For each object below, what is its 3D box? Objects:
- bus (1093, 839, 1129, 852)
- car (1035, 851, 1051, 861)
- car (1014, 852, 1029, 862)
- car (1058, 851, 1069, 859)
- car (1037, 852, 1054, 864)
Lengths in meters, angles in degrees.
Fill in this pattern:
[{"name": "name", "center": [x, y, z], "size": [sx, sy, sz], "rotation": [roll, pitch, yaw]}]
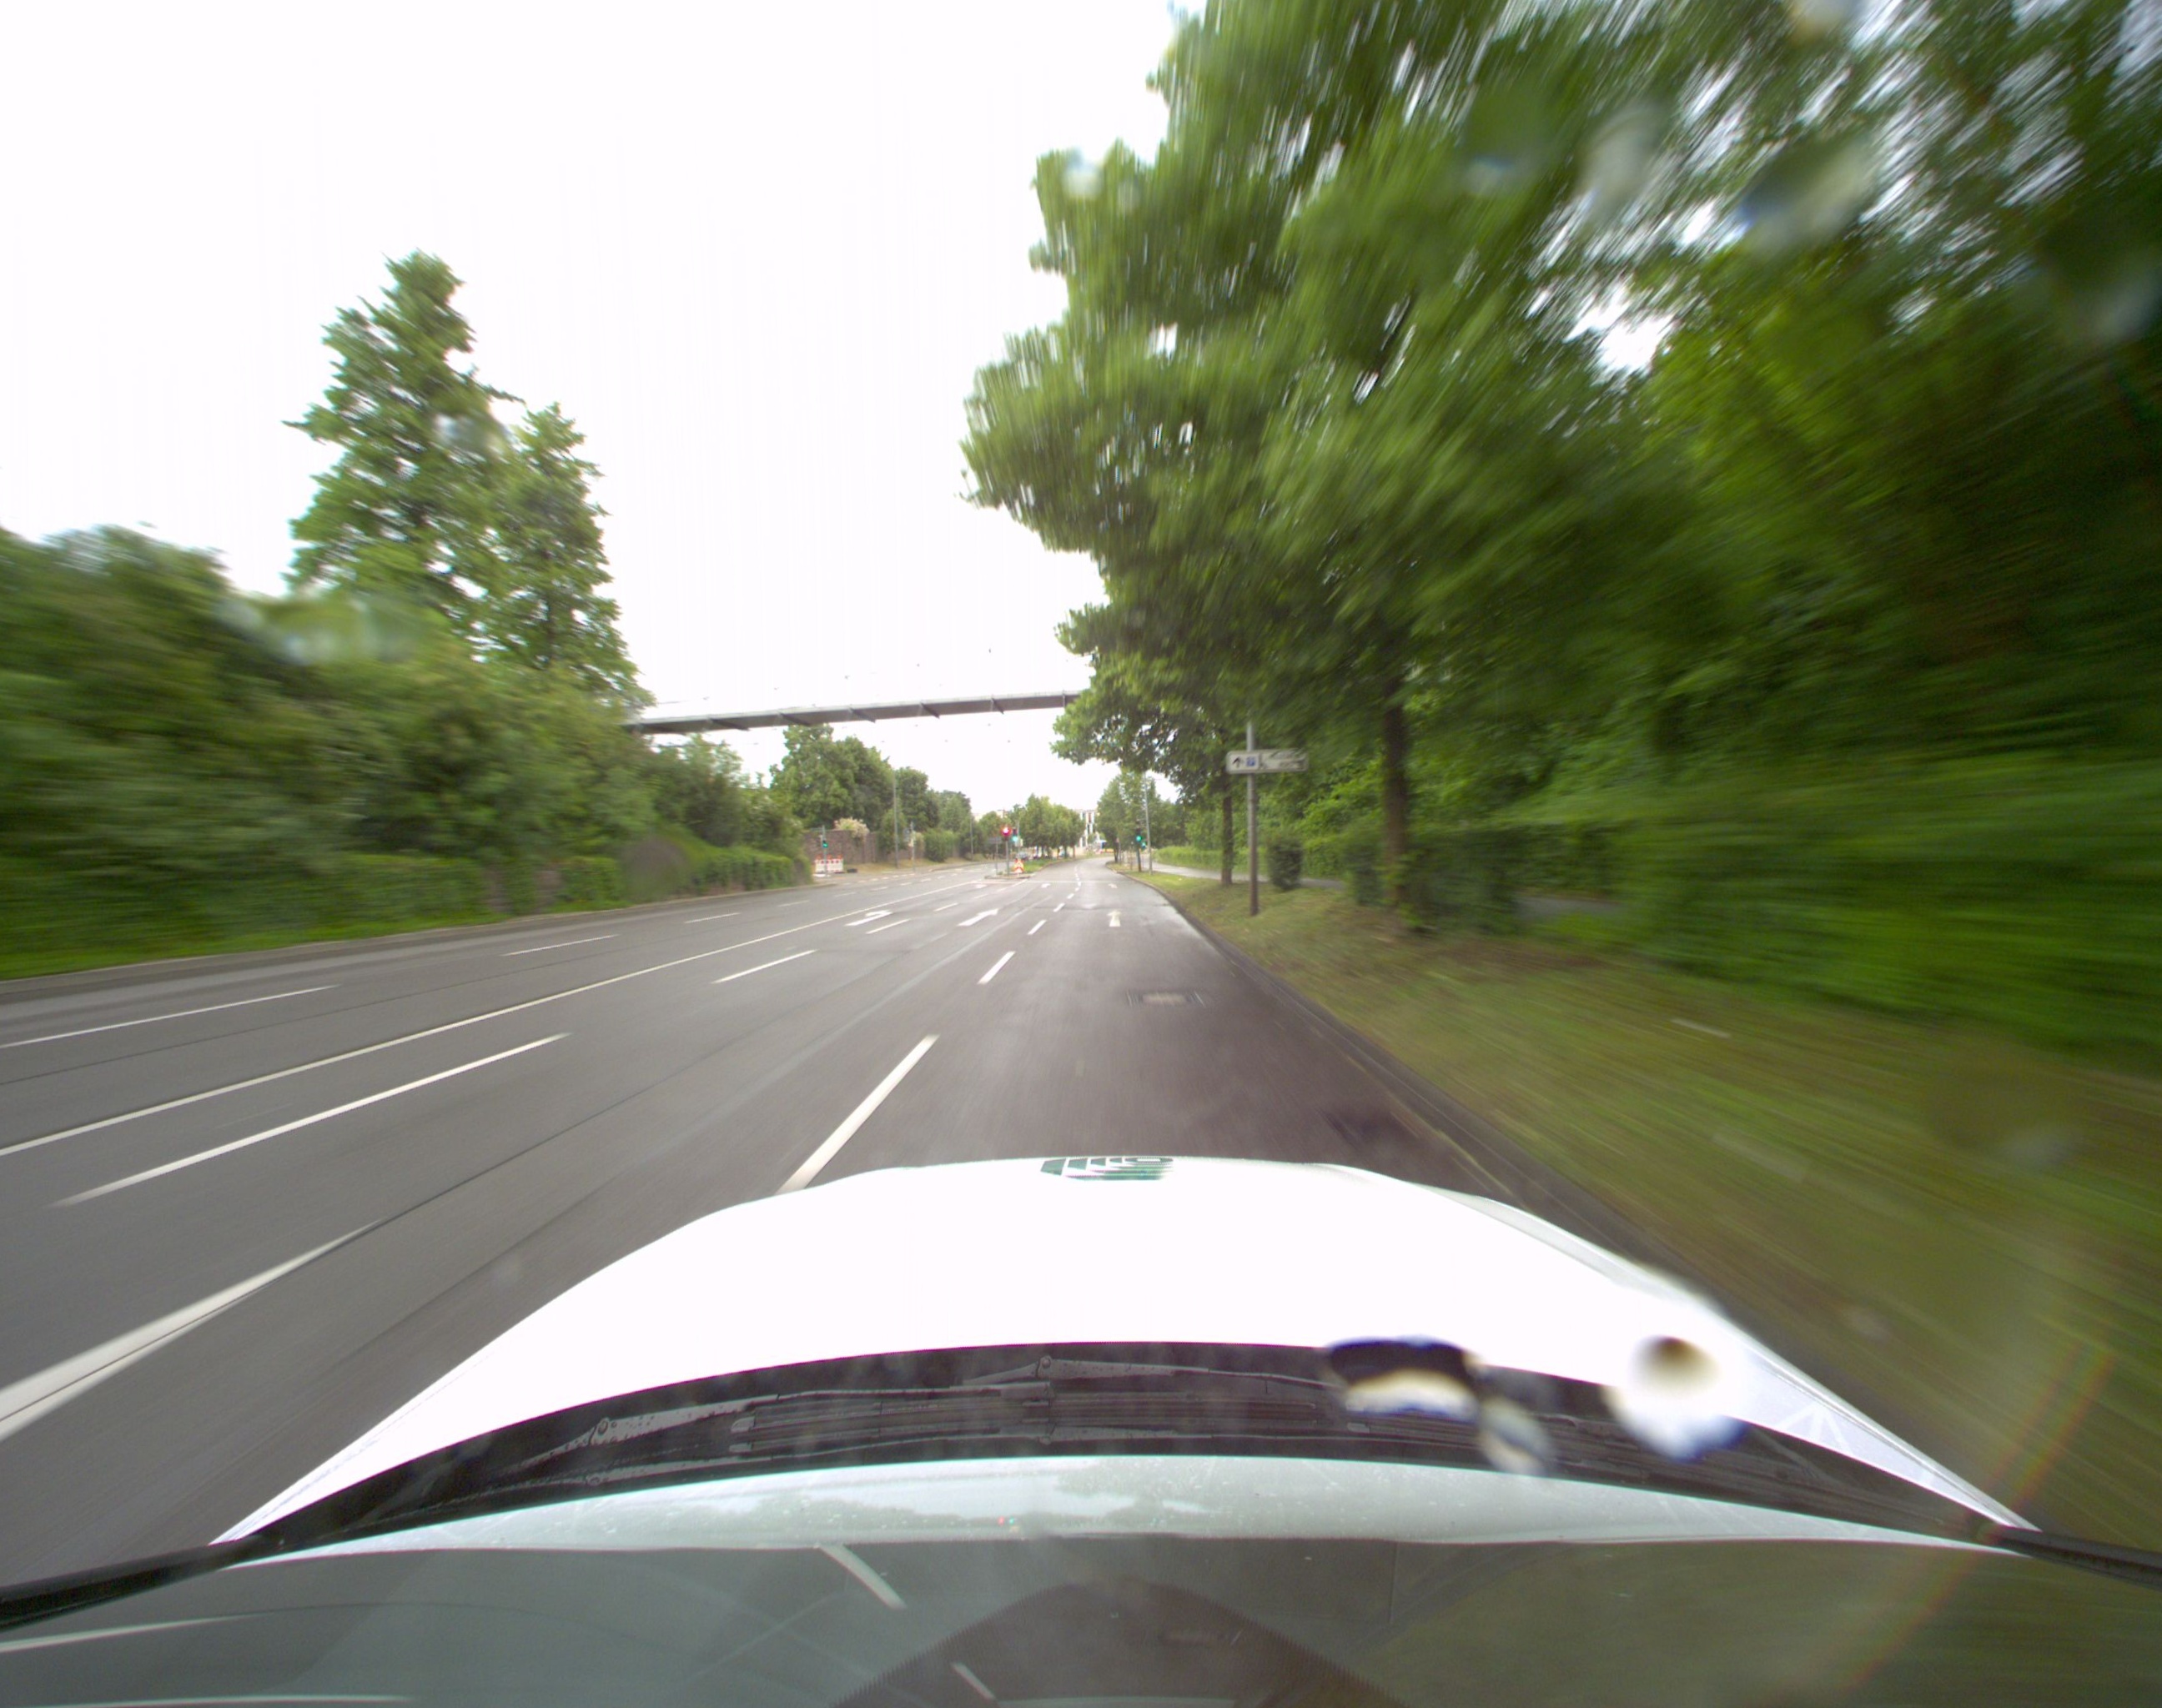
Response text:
[{"name": "bus", "center": [8.701, -2.423, 232.359], "size": [2.759, 3.357, 18.335], "rotation": [-1, -1, 27]}, {"name": "car", "center": [-6.758, 0.345, 144.726], "size": [1.870, 1.595, 4.778], "rotation": [0, 0, 9]}, {"name": "car", "center": [-9.361, 0.416, 128.663], "size": [1.589, 1.489, 4.010], "rotation": [-1, 0, 8]}, {"name": "car", "center": [-3.549, 0.198, 165.554], "size": [1.677, 1.539, 2.923], "rotation": [-1, 1, 8]}, {"name": "car", "center": [-5.691, 0.582, 131.148], "size": [2.003, 1.919, 5.104], "rotation": [-1, 0, 6]}]
